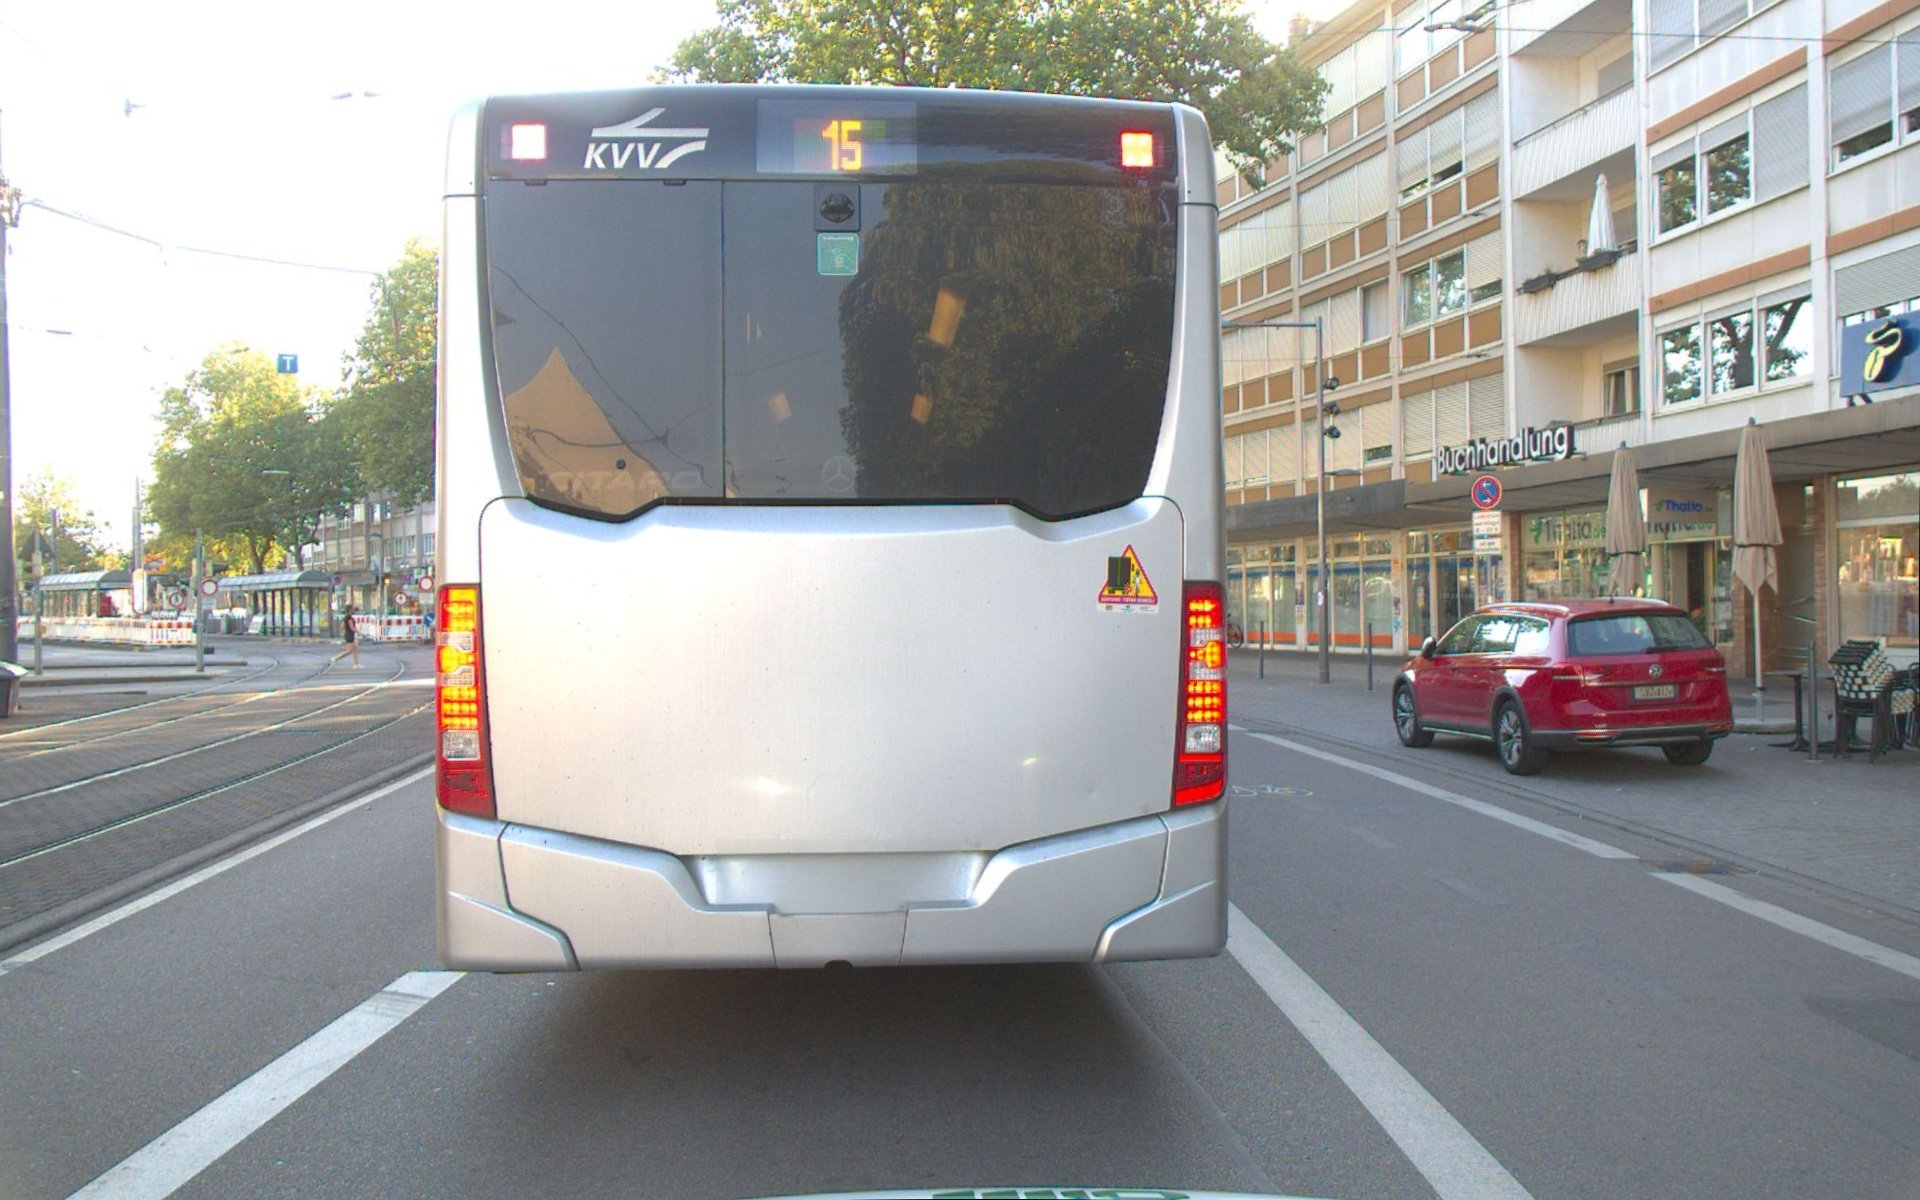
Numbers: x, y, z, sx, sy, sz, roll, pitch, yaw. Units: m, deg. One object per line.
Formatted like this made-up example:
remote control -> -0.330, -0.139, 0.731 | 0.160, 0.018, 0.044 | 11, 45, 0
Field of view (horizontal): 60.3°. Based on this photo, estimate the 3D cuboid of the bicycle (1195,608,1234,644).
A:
bicycle -> 7.053, 0.718, 45.934 | 0.406, 0.961, 1.431 | -1, 0, -20

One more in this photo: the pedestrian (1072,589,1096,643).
pedestrian -> 3.912, 0.504, 52.132 | 0.527, 1.677, 0.612 | -1, 0, -18

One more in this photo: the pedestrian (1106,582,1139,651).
pedestrian -> 4.136, 0.419, 42.119 | 0.634, 1.747, 0.557 | -1, 0, -17

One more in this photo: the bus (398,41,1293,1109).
bus -> -0.402, -0.057, 9.805 | 2.577, 3.081, 9.995 | 0, 0, -1

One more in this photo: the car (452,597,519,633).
car -> -25.163, 0.790, 87.651 | 1.982, 1.823, 3.940 | 1, -1, -41

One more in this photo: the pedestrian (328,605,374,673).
pedestrian -> -15.521, 0.989, 42.168 | 0.977, 1.716, 0.642 | 0, -2, -13

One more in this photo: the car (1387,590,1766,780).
car -> 5.705, 0.707, 15.937 | 1.735, 1.508, 4.299 | -2, 0, -4
